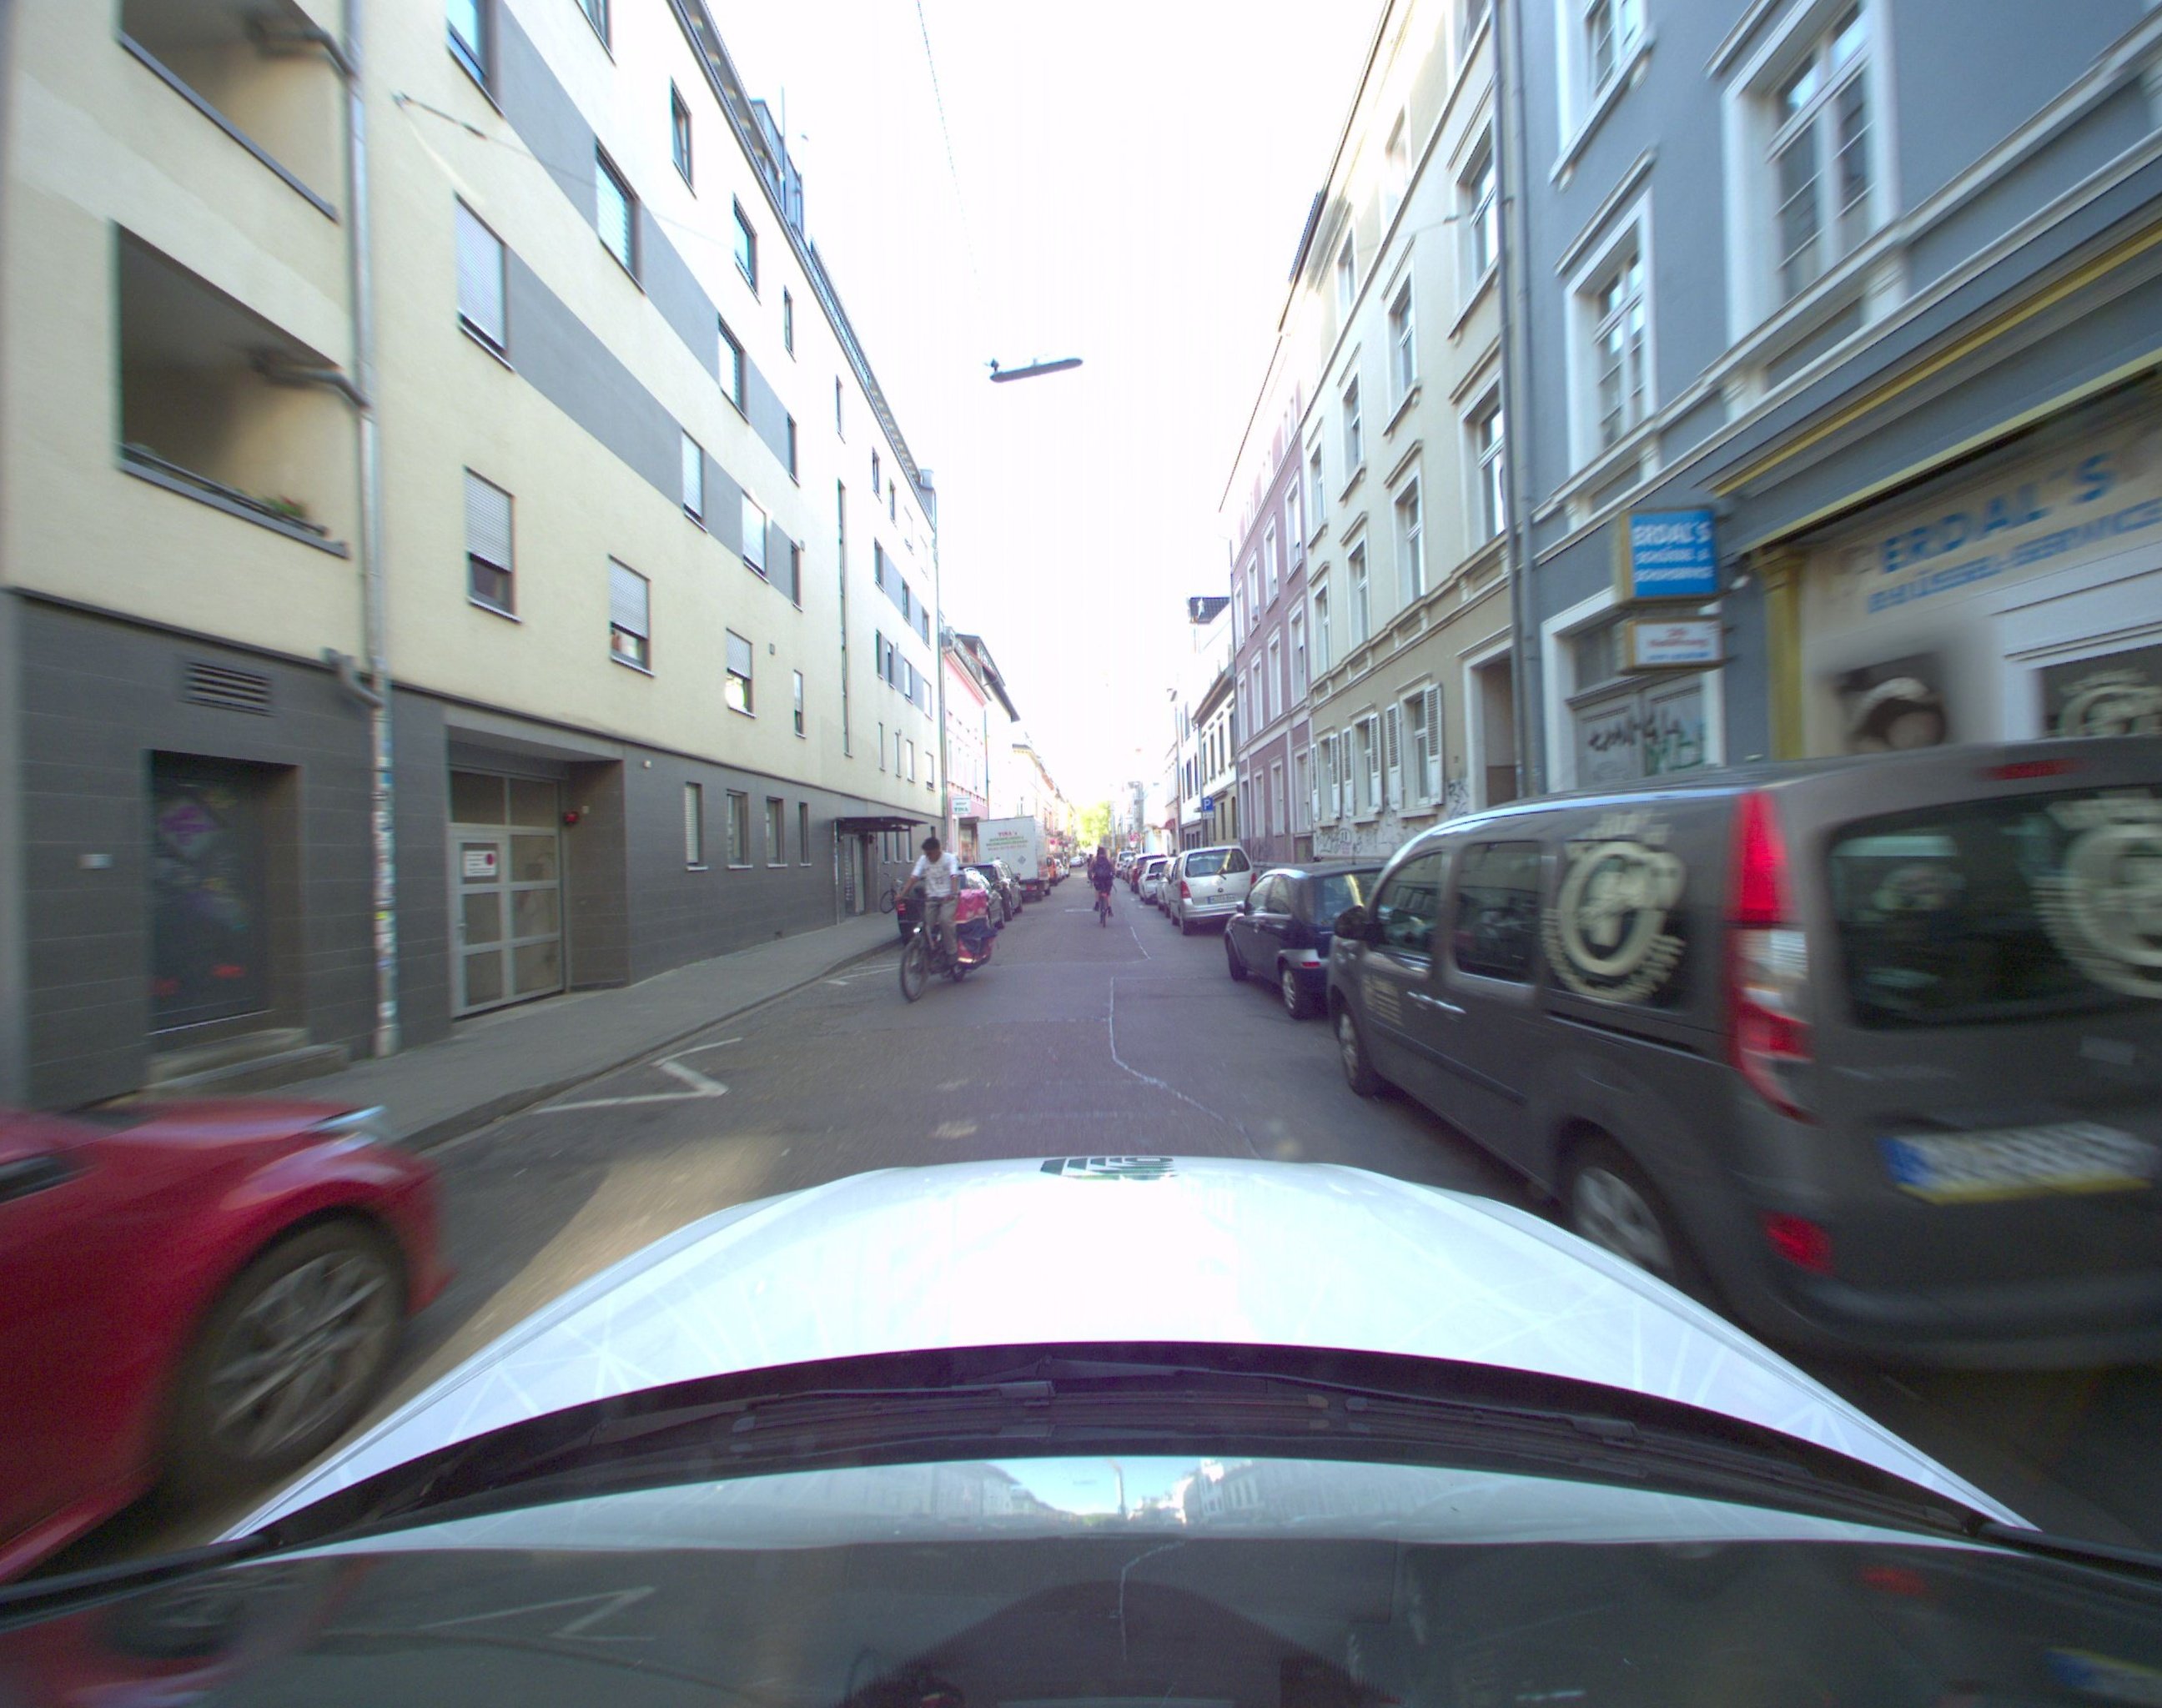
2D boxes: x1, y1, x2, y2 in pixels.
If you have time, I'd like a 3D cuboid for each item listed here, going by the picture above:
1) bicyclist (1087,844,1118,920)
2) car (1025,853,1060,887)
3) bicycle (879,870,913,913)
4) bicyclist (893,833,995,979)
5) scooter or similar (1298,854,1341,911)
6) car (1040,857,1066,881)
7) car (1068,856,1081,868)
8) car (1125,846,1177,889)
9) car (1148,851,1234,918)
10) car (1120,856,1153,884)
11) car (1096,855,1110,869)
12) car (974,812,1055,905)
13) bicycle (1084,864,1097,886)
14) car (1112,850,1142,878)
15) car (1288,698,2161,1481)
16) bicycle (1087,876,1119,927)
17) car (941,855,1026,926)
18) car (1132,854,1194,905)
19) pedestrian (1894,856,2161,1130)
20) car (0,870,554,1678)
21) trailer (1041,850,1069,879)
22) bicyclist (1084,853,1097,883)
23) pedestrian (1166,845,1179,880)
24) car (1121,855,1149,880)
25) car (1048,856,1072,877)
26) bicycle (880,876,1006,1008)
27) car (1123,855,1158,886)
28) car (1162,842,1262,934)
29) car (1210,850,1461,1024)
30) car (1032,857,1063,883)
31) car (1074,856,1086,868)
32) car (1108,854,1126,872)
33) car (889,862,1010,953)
[{"bbox_3d":[0.492,0.634,18.731,0.665,1.677,1.097,-1,-1,0],"label":"bicyclist"},{"bbox_3d":[-2.203,0.927,47.855,1.747,1.816,4.077,-4,-1,0],"label":"car"},{"bbox_3d":[-5.449,1.089,24.081,0.488,1.164,1.774,-4,0,2],"label":"bicycle"},{"bbox_3d":[-1.650,0.607,9.964,0.947,1.628,0.953,-4,0,1],"label":"bicyclist"},{"bbox_3d":[5.290,0.616,18.134,0.448,1.182,1.368,-6,-1,0],"label":"scooter or similar"},{"bbox_3d":[-1.992,1.068,58.417,1.648,1.537,3.634,-3,-1,1],"label":"car"},{"bbox_3d":[-0.897,1.152,116.410,1.744,1.683,3.796,-3,-1,1],"label":"car"},{"bbox_3d":[3.043,0.572,36.165,1.911,1.706,4.366,-2,0,1],"label":"car"},{"bbox_3d":[2.901,0.773,22.362,1.691,1.543,4.629,-4,-1,0],"label":"car"},{"bbox_3d":[3.268,0.932,48.803,1.640,1.475,3.971,-6,-1,1],"label":"car"},{"bbox_3d":[2.499,0.895,93.437,1.605,1.560,3.610,-1,-1,1],"label":"car"},{"bbox_3d":[-2.578,0.191,33.658,2.335,3.291,7.156,-4,-1,2],"label":"car"},{"bbox_3d":[0.490,1.072,42.842,0.646,1.129,2.136,-1,-1,1],"label":"bicycle"},{"bbox_3d":[3.348,0.711,59.790,1.745,1.879,3.970,-3,-1,-1],"label":"car"},{"bbox_3d":[2.516,0.556,4.052,1.893,1.793,4.315,-1,-1,1],"label":"car"},{"bbox_3d":[0.497,1.063,18.693,0.675,1.074,1.941,-1,-1,0],"label":"bicycle"},{"bbox_3d":[-2.643,0.944,23.034,1.711,1.650,4.246,-5,1,0],"label":"car"},{"bbox_3d":[2.759,0.842,28.111,1.681,1.543,4.046,-4,-1,0],"label":"car"},{"bbox_3d":[4.824,0.657,4.150,0.673,1.277,0.654,-1,-1,2],"label":"pedestrian"},{"bbox_3d":[-2.983,0.871,1.186,1.744,1.522,3.869,-5,-1,1],"label":"car"},{"bbox_3d":[-1.983,0.812,63.035,1.875,2.092,3.737,-3,-1,1],"label":"trailer"},{"bbox_3d":[0.482,0.723,42.846,0.669,1.567,0.716,-1,-1,-1],"label":"bicyclist"},{"bbox_3d":[5.343,0.513,47.675,0.642,2.014,0.764,-1,-1,0],"label":"pedestrian"},{"bbox_3d":[3.590,0.888,54.722,1.743,1.487,3.802,-3,-1,2],"label":"car"},{"bbox_3d":[-1.715,1.001,67.245,1.744,1.573,3.796,-3,-1,1],"label":"car"},{"bbox_3d":[-1.617,0.988,10.120,0.974,1.314,2.556,-3,0,2],"label":"bicycle"},{"bbox_3d":[3.203,0.873,44.289,1.660,1.505,3.818,-5,-1,2],"label":"car"},{"bbox_3d":[2.652,0.670,17.189,1.551,1.712,3.558,-1,-1,0],"label":"car"},{"bbox_3d":[2.548,0.754,9.026,1.548,1.511,3.609,-1,-1,-2],"label":"car"},{"bbox_3d":[-2.150,1.057,53.381,1.744,1.537,4.319,-3,-1,1],"label":"car"},{"bbox_3d":[-0.135,1.309,133.464,1.744,1.821,3.796,-3,-1,1],"label":"car"},{"bbox_3d":[3.421,0.835,77.422,1.605,1.633,3.610,-1,-1,1],"label":"car"},{"bbox_3d":[-2.647,1.024,17.433,1.711,1.478,4.499,-5,1,0],"label":"car"}]
